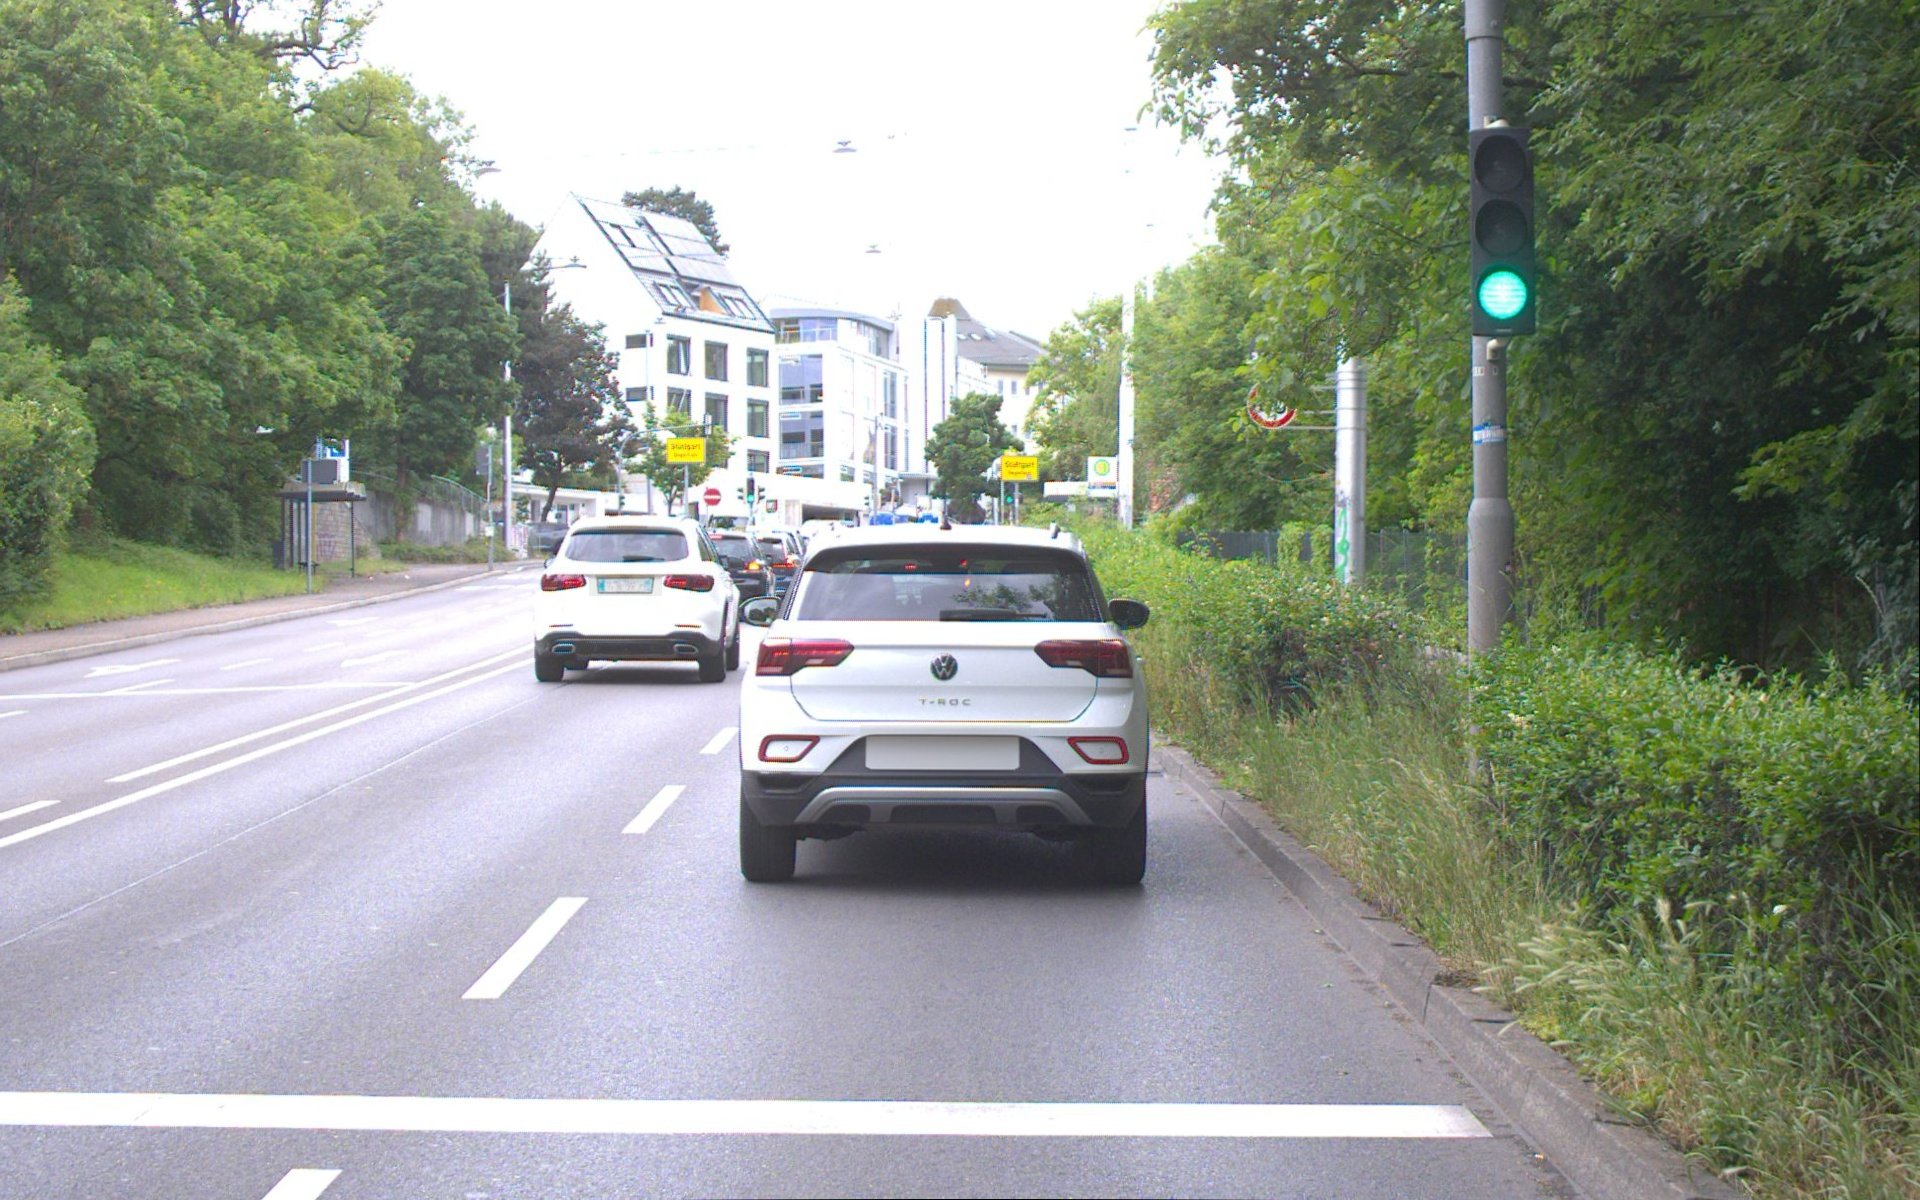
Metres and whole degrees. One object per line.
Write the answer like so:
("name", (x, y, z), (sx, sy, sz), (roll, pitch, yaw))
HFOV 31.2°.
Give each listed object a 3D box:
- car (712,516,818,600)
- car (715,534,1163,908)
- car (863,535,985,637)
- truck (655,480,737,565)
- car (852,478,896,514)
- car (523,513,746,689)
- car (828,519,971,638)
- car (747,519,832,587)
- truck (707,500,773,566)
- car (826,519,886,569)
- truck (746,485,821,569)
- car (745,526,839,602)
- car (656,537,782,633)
("car", (-3.694, -0.814, 65.609), (1.829, 1.520, 4.000), (-1, 1, -1))
("car", (-0.112, 0.457, 16.112), (1.829, 1.520, 4.000), (0, 1, -1))
("car", (-0.572, -0.248, 54.212), (1.829, 1.520, 4.000), (-1, 1, -1))
("truck", (-8.803, -2.589, 115.025), (2.362, 2.697, 4.478), (-2, 1, -1))
("car", (-3.771, -4.567, 151.082), (1.829, 1.520, 4.000), (-1, 1, -1))
("car", (-3.228, -0.032, 34.741), (1.918, 1.664, 4.000), (0, 1, -1))
("car", (-0.807, -0.319, 46.637), (1.829, 1.520, 4.000), (-1, 1, -1))
("car", (-3.999, -1.121, 81.049), (1.829, 1.520, 4.000), (-1, 1, -1))
("truck", (-10.476, -3.177, 164.094), (2.293, 3.040, 6.979), (-1, 1, 3))
("car", (-3.313, -1.807, 110.232), (1.829, 1.520, 4.000), (-1, 1, -1))
("truck", (-6.108, -2.544, 119.635), (2.362, 2.772, 4.478), (-2, 1, -1))
("car", (-3.553, -0.783, 73.128), (1.829, 1.520, 4.000), (-1, 1, -1))
("car", (-3.937, -0.283, 56.741), (1.829, 1.492, 4.000), (-1, 1, -1))
